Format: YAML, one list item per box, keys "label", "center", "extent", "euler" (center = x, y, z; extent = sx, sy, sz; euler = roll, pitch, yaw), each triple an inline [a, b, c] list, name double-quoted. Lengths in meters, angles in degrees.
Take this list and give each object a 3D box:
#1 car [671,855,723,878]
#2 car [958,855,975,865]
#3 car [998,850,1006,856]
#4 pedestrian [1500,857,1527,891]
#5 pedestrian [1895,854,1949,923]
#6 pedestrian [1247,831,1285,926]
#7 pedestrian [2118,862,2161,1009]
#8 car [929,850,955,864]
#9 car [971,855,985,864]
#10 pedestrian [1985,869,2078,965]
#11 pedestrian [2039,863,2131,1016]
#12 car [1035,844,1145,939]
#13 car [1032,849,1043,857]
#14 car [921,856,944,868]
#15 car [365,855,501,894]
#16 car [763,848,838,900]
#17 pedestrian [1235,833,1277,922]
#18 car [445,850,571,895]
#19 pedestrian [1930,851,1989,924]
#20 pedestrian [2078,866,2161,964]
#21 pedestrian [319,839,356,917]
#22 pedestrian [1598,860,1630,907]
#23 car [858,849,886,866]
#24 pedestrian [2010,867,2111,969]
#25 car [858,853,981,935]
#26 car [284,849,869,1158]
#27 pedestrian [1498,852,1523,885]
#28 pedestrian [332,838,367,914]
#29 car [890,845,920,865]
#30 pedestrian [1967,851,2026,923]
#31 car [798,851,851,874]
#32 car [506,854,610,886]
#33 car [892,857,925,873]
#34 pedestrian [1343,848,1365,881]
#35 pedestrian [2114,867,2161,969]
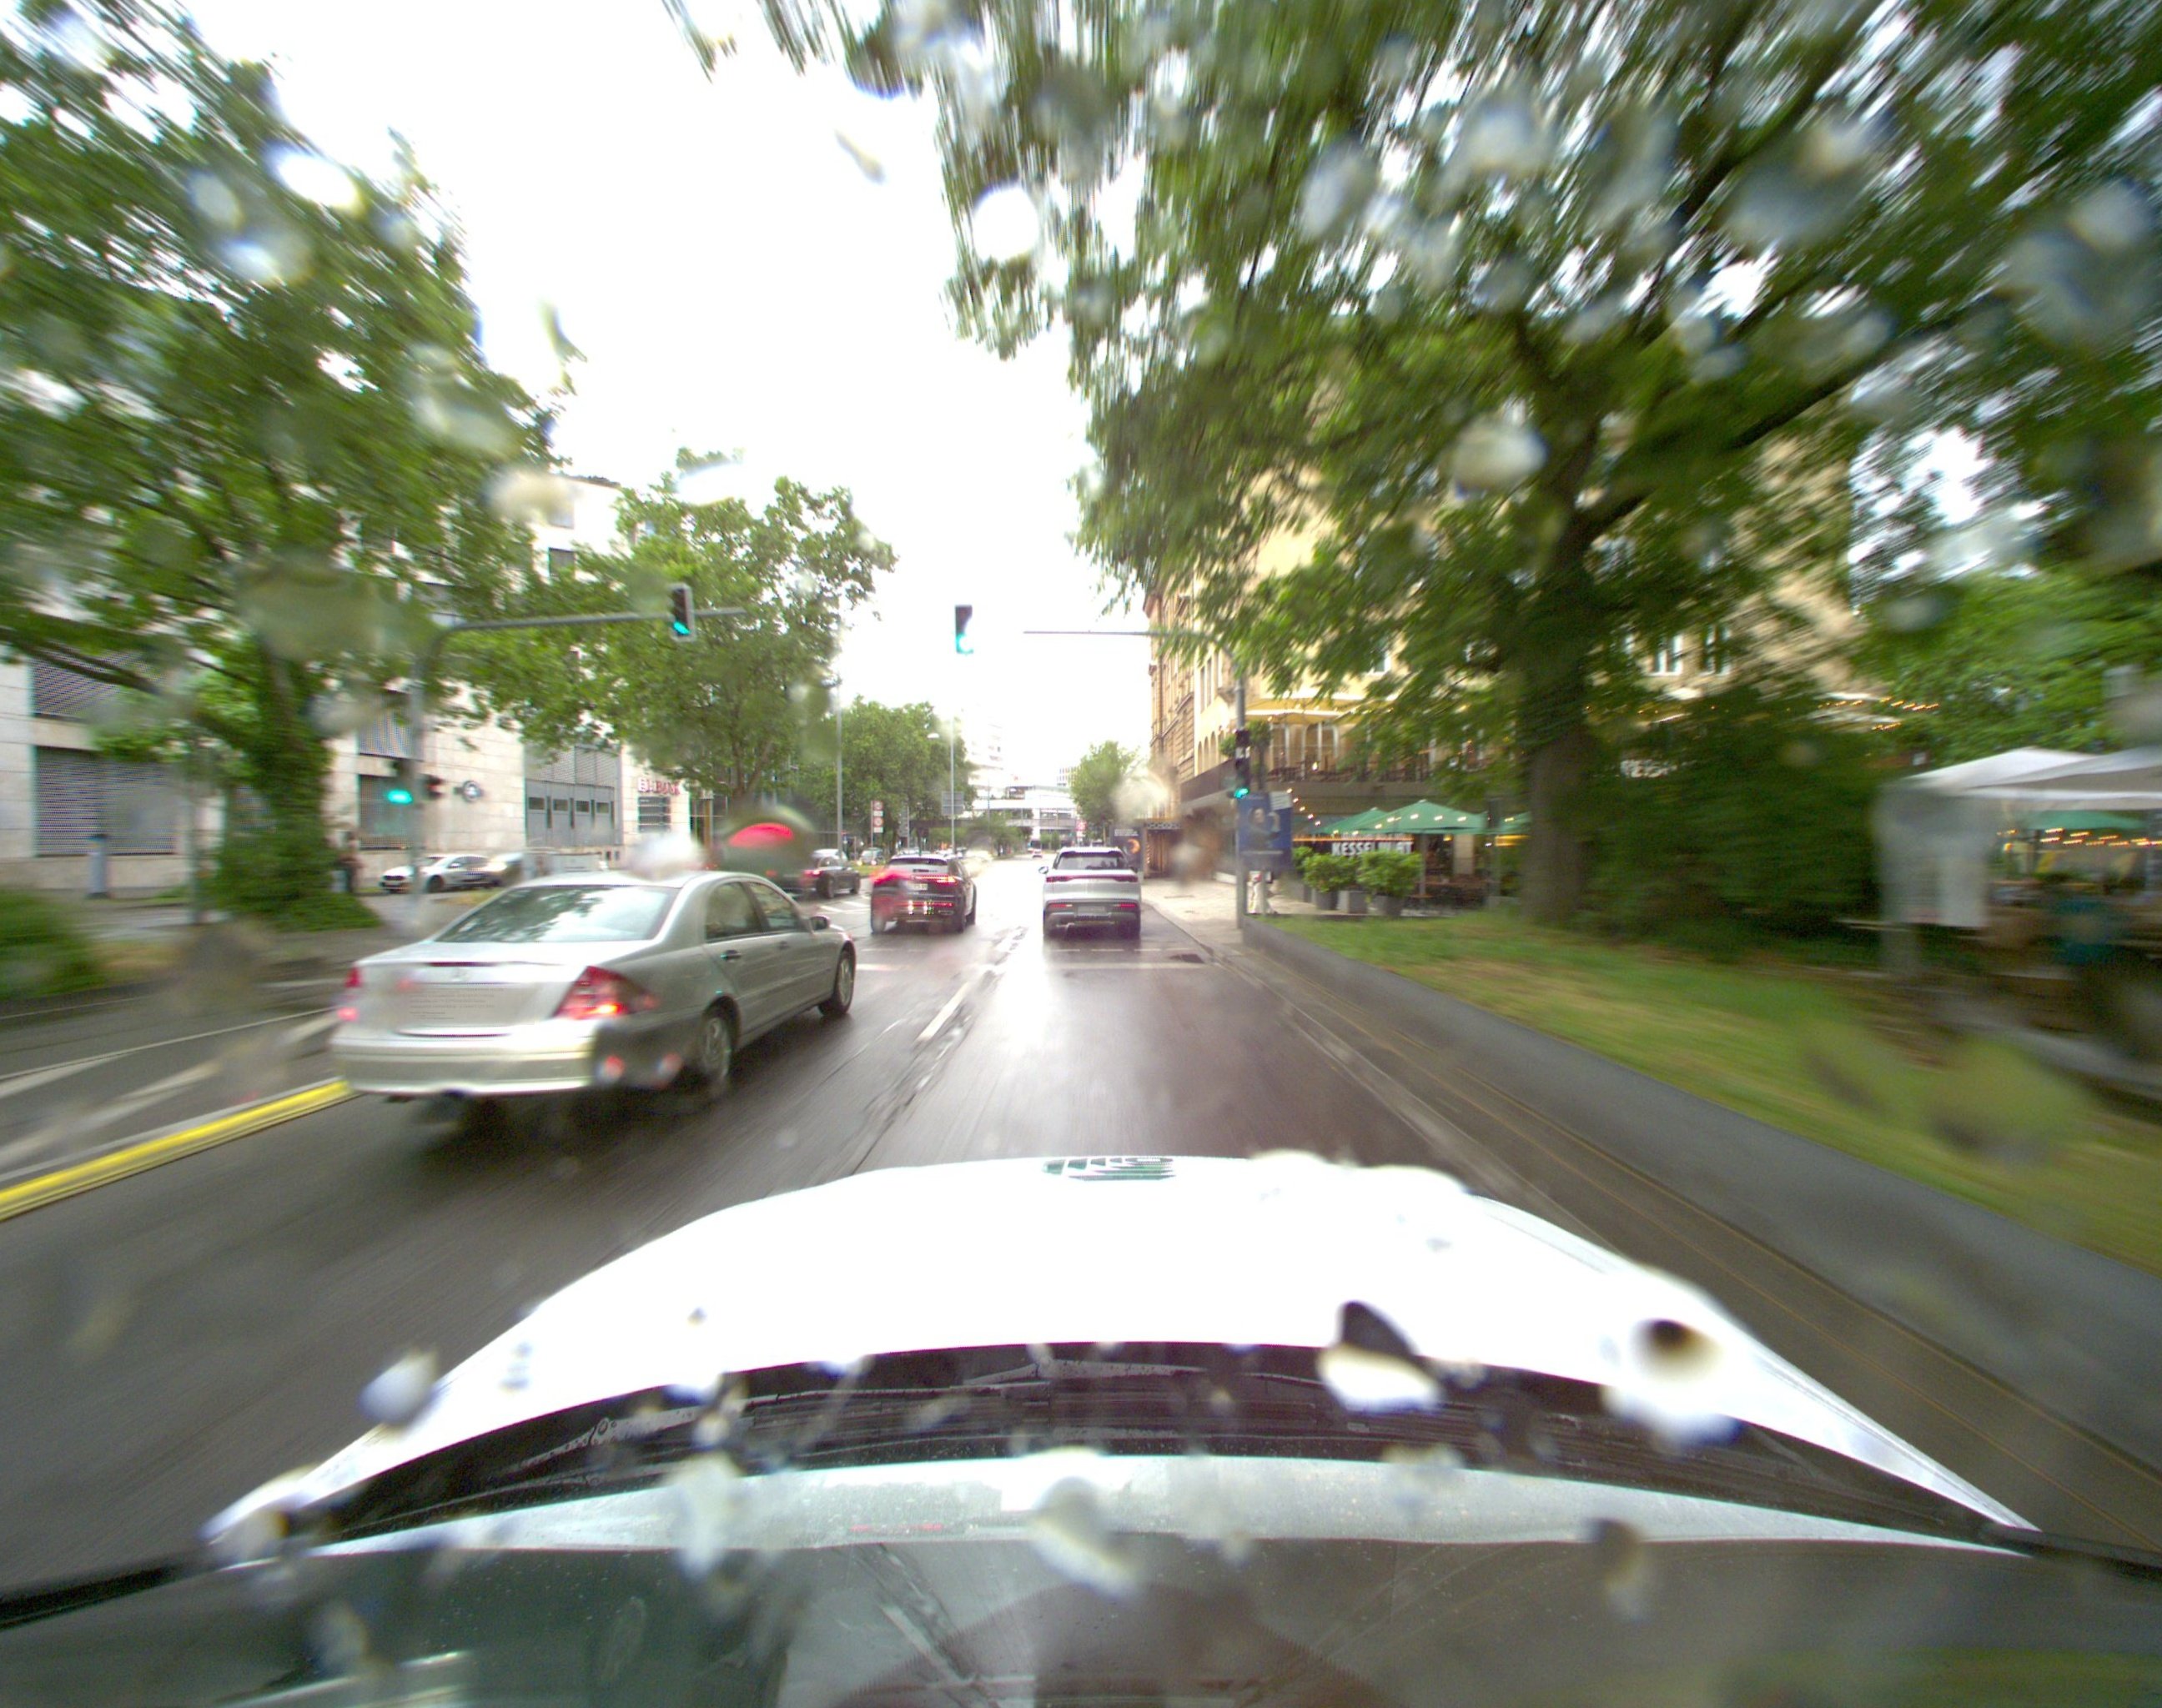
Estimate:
- label: "car"
  center: [-24.497, 0.807, 52.061]
  extent: [1.585, 1.415, 3.404]
  euler: [0, -1, 4]
- label: "car"
  center: [-15.602, 0.825, 111.442]
  extent: [1.695, 1.437, 4.581]
  euler: [0, 0, 0]
- label: "car"
  center: [-21.254, -0.256, 220.087]
  extent: [1.591, 1.360, 4.117]
  euler: [0, 0, 1]
- label: "pedestrian"
  center: [13.719, 0.635, 25.844]
  extent: [0.552, 1.055, 0.545]
  euler: [0, 0, 1]
- label: "pedestrian"
  center: [20.387, 0.826, 19.755]
  extent: [0.669, 1.643, 0.625]
  euler: [1, 0, -4]
- label: "pedestrian"
  center: [3.641, 0.478, 16.071]
  extent: [0.630, 1.834, 0.563]
  euler: [0, -1, 3]
- label: "pedestrian"
  center: [10.587, 0.787, 7.960]
  extent: [0.343, 1.417, 0.516]
  euler: [1, 0, -30]
- label: "car"
  center: [-14.992, 0.315, 87.890]
  extent: [1.853, 1.442, 4.316]
  euler: [0, 0, 2]
- label: "car"
  center: [-16.595, 0.850, 130.895]
  extent: [1.591, 1.360, 4.117]
  euler: [0, 0, 1]
- label: "pedestrian"
  center: [13.994, 0.891, 12.020]
  extent: [0.633, 1.327, 0.952]
  euler: [1, 0, 33]
- label: "pedestrian"
  center: [9.733, 0.799, 7.901]
  extent: [0.343, 1.417, 0.516]
  euler: [1, 0, -30]
- label: "car"
  center: [0.119, 0.664, 16.152]
  extent: [1.896, 1.621, 3.997]
  euler: [0, -1, -1]
- label: "car"
  center: [-7.635, -0.136, 143.723]
  extent: [1.648, 1.342, 4.001]
  euler: [0, 0, 1]
- label: "car"
  center: [-17.467, 0.947, 95.812]
  extent: [1.720, 1.432, 4.398]
  euler: [0, 0, 3]
- label: "car"
  center: [-25.557, 0.779, 32.342]
  extent: [1.739, 1.415, 4.298]
  euler: [0, 0, 4]
- label: "car"
  center: [-9.135, 0.605, 26.843]
  extent: [1.813, 1.578, 3.984]
  euler: [0, 0, -12]
- label: "pedestrian"
  center: [3.702, 0.486, 17.203]
  extent: [0.593, 1.834, 0.623]
  euler: [0, -1, -28]
- label: "car"
  center: [-22.687, 0.702, 32.495]
  extent: [1.729, 1.673, 4.299]
  euler: [0, -1, 5]
- label: "pedestrian"
  center: [20.204, 0.758, 18.736]
  extent: [0.674, 1.643, 0.625]
  euler: [1, 0, -4]
- label: "pedestrian"
  center: [14.825, 0.848, 11.531]
  extent: [0.710, 1.327, 0.646]
  euler: [1, 0, 31]
- label: "pedestrian"
  center: [-15.743, 0.490, 17.251]
  extent: [0.558, 1.614, 0.420]
  euler: [0, 1, -41]
- label: "pedestrian"
  center: [15.367, 0.845, 23.497]
  extent: [0.646, 1.322, 0.424]
  euler: [0, 0, -5]
- label: "car"
  center: [-20.880, 0.326, 81.385]
  extent: [1.826, 1.639, 4.088]
  euler: [0, -1, -2]
- label: "pedestrian"
  center: [13.537, 0.855, 11.276]
  extent: [0.710, 1.327, 0.646]
  euler: [1, 0, 31]
- label: "car"
  center: [-3.119, 0.727, 16.523]
  extent: [1.769, 1.457, 3.997]
  euler: [0, -1, -1]
- label: "car"
  center: [-3.049, 0.725, 6.195]
  extent: [1.667, 1.479, 4.360]
  euler: [2, 0, 0]
- label: "pedestrian"
  center: [14.094, 0.471, 26.729]
  extent: [0.552, 1.055, 0.545]
  euler: [0, 0, 1]
- label: "pedestrian"
  center: [-15.907, 0.461, 17.717]
  extent: [0.449, 1.614, 0.635]
  euler: [0, 1, -31]
- label: "car"
  center: [-18.104, 0.119, 84.034]
  extent: [1.823, 2.002, 5.107]
  euler: [0, -1, 3]
- label: "pedestrian"
  center: [21.209, 0.751, 18.870]
  extent: [0.674, 1.643, 0.625]
  euler: [1, 0, -4]
- label: "car"
  center: [-15.649, 0.500, 49.891]
  extent: [1.740, 1.364, 4.133]
  euler: [0, 0, 3]
- label: "car"
  center: [-25.091, 0.736, 39.274]
  extent: [1.739, 1.415, 4.710]
  euler: [0, 0, 4]
- label: "car"
  center: [-14.898, 0.934, 70.438]
  extent: [1.739, 1.364, 3.948]
  euler: [0, -1, 4]
- label: "pedestrian"
  center: [8.906, 0.341, 26.570]
  extent: [0.552, 1.055, 0.545]
  euler: [0, 0, 1]
- label: "pedestrian"
  center: [14.474, 0.845, 10.838]
  extent: [0.710, 1.327, 0.646]
  euler: [1, 0, 31]
